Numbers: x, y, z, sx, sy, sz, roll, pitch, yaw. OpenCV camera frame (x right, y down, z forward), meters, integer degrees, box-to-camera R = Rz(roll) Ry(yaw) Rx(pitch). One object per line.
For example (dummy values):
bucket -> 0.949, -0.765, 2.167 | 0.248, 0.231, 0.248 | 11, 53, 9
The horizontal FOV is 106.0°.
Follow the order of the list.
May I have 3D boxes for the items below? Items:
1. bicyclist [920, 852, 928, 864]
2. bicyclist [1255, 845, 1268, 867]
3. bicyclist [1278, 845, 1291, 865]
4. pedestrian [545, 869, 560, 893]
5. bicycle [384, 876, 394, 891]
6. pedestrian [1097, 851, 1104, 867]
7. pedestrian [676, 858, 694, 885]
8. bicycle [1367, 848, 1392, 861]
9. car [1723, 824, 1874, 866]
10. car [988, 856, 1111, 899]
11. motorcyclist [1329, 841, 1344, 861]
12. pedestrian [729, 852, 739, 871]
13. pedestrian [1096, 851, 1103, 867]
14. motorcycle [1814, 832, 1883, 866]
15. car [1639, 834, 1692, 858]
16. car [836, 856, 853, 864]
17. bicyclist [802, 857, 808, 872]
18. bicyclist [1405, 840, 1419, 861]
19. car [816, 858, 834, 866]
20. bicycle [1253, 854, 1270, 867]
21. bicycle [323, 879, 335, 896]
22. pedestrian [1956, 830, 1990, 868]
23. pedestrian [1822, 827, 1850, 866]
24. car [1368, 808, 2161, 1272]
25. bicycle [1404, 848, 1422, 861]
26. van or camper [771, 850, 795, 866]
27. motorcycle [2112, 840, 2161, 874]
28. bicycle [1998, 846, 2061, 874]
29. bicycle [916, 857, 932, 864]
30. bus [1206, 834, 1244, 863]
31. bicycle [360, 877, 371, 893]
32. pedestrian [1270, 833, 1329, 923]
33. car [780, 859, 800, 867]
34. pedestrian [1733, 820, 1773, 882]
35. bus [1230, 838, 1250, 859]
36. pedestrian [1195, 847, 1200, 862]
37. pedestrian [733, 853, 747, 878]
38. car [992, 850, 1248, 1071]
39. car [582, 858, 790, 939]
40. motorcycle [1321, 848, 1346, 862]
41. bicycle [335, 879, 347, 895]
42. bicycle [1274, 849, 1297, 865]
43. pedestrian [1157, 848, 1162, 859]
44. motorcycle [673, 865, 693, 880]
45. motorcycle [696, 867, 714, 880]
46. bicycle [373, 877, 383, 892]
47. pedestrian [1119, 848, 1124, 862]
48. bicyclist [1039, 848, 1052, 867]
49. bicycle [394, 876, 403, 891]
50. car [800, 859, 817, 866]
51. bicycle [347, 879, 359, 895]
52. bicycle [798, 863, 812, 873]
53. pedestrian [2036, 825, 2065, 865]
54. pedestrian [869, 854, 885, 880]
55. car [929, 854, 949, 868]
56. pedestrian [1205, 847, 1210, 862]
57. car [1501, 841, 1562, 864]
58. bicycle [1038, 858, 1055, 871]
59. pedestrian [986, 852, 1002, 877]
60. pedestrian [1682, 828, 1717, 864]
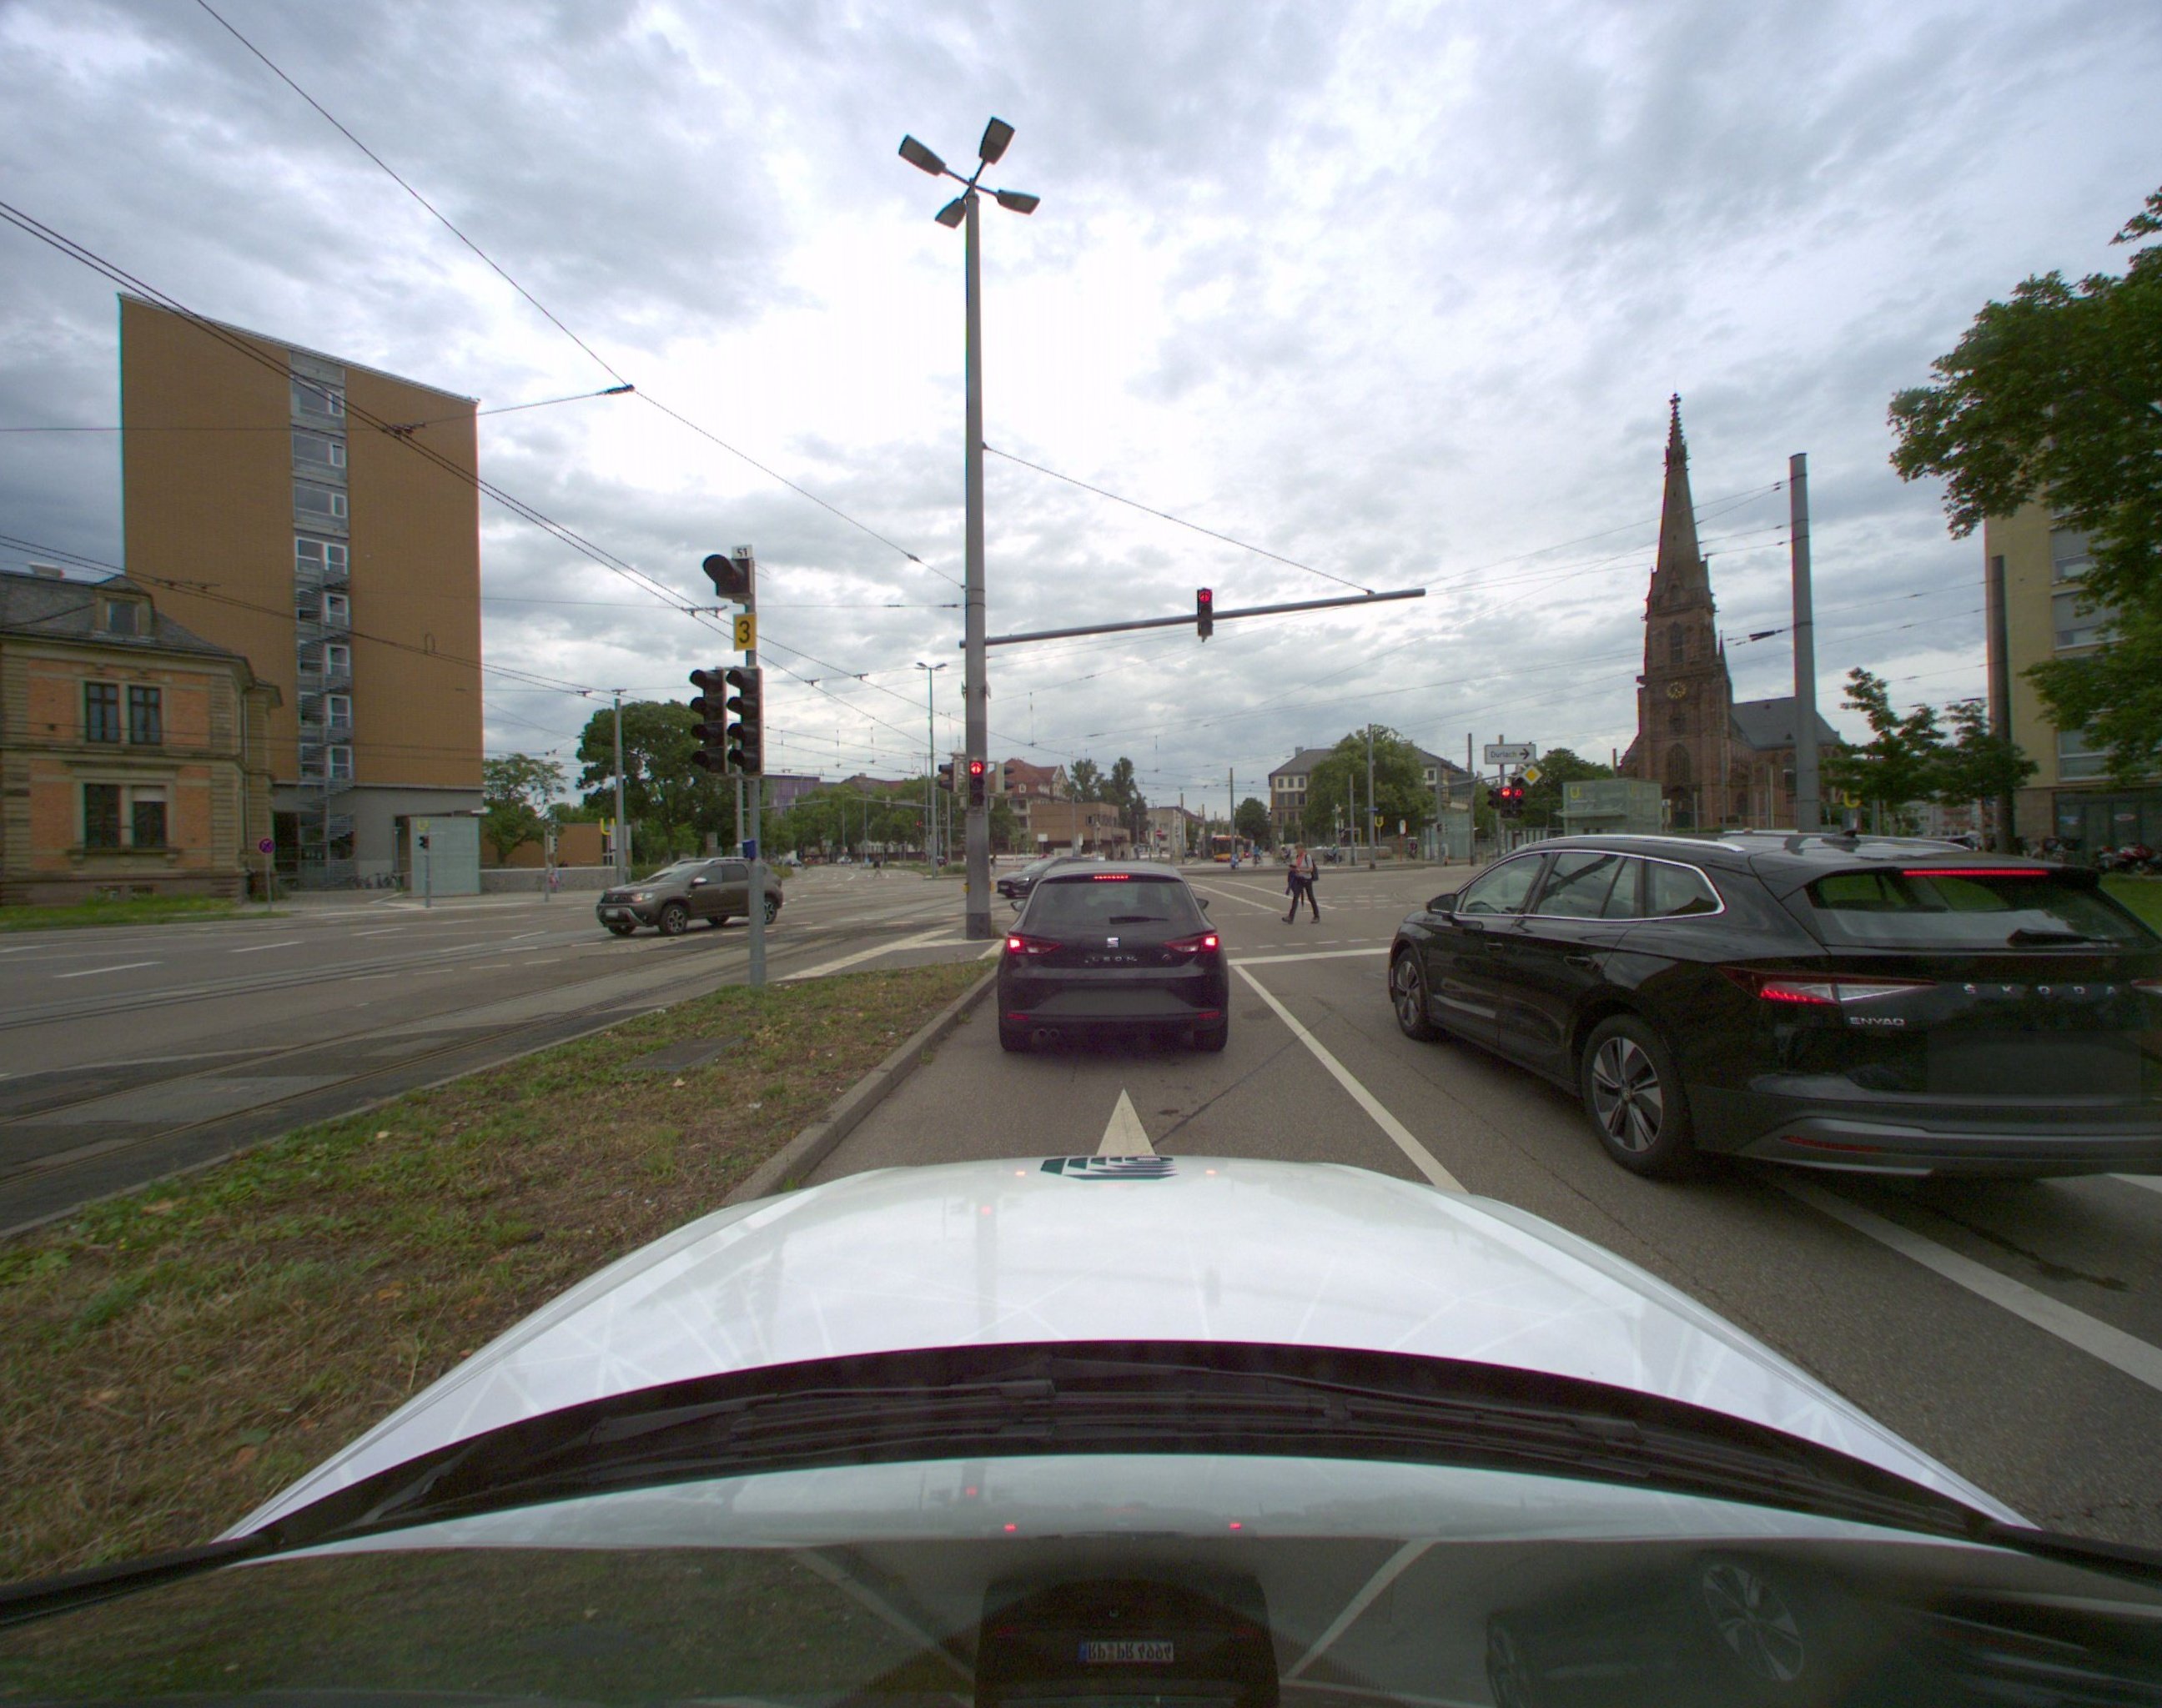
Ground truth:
bicyclist -> -26.779, 0.691, 138.620 | 0.928, 2.013, 0.984 | -1, 0, 31
bicyclist -> 15.701, 0.166, 70.800 | 0.869, 1.851, 1.046 | -1, 0, -3
bicyclist -> 17.344, 0.101, 69.448 | 0.854, 1.673, 0.652 | -1, 0, -11
pedestrian -> -30.103, 1.511, 46.406 | 0.492, 1.336, 0.577 | -1, 0, 42
bicycle -> -49.699, 2.125, 58.491 | 0.484, 1.049, 1.411 | -1, 0, -40
pedestrian -> 2.376, 0.617, 98.864 | 0.704, 1.918, 0.625 | -1, 0, 9
pedestrian -> -29.567, 1.306, 60.797 | 1.023, 2.013, 0.841 | -1, 0, -17
bicycle -> 30.397, 0.046, 82.832 | 2.248, 1.331, 0.709 | -2, -1, 9
car -> 38.174, -0.439, 43.521 | 5.671, 2.014, 2.038 | -2, -1, 20
car -> -1.127, 0.836, 30.517 | 4.413, 1.396, 1.679 | -1, 0, -38
motorcyclist -> 21.898, -0.240, 69.840 | 0.984, 1.649, 0.742 | -1, -1, -31
pedestrian -> -37.443, 0.844, 87.842 | 0.799, 1.981, 0.872 | -1, -2, -32
pedestrian -> 2.213, 0.606, 98.072 | 0.704, 1.918, 0.625 | -1, 0, 9
motorcycle -> 27.255, -0.185, 28.931 | 2.385, 1.168, 0.762 | -1, 0, -19
car -> 46.798, -0.641, 65.244 | 4.011, 1.775, 1.883 | -1, -1, -29
car -> -43.825, 1.114, 151.144 | 1.789, 1.464, 3.956 | -1, 1, -36
bicyclist -> -38.228, 1.467, 112.840 | 0.508, 2.014, 0.593 | -3, -2, 45
bicyclist -> 30.716, -0.299, 75.542 | 1.003, 1.897, 0.768 | -1, 0, -44
car -> -50.803, 1.510, 161.359 | 1.792, 1.464, 3.951 | -1, 1, -44
bicycle -> 15.721, 0.556, 70.868 | 0.863, 1.104, 2.300 | -1, 0, -2
bicycle -> -52.015, 2.312, 56.340 | 0.575, 1.106, 1.411 | -1, 0, -40
pedestrian -> 38.819, -0.217, 35.452 | 0.777, 1.638, 0.641 | -1, 0, 26
pedestrian -> 31.914, -0.305, 34.415 | 0.875, 1.638, 0.631 | -1, 0, -31
car -> 3.429, 0.639, 5.092 | 1.771, 1.597, 4.511 | -1, 0, 1
bicycle -> 30.776, 0.050, 75.587 | 2.044, 1.184, 0.768 | -1, 0, -44
van or camper -> -61.392, 0.837, 167.877 | 5.434, 3.124, 2.410 | -1, 0, 44
motorcycle -> 32.001, 0.083, 24.706 | 1.020, 0.997, 0.864 | -1, 0, -39
bicycle -> 31.796, 0.195, 27.314 | 0.596, 0.917, 1.253 | -1, 0, -28
bicycle -> -26.725, 1.108, 138.636 | 0.930, 1.179, 2.747 | -1, 0, 31
bus -> 16.804, -0.676, 94.492 | 2.937, 3.123, 11.590 | -1, 0, 17
bicycle -> -50.623, 2.163, 57.615 | 0.575, 1.106, 1.411 | -1, 0, -40
pedestrian -> 4.792, 0.501, 17.848 | 1.110, 1.907, 0.727 | 0, -1, -40
car -> -52.455, 1.619, 146.692 | 1.792, 1.464, 3.950 | -1, 0, -44
pedestrian -> 21.433, -0.096, 25.962 | 0.878, 1.930, 1.023 | -1, 0, 44
bus -> 26.919, -0.928, 137.427 | 2.635, 3.283, 11.036 | -1, 0, 14
pedestrian -> 15.050, 0.010, 105.256 | 0.617, 1.918, 0.701 | -1, 0, 12
pedestrian -> -27.747, 0.932, 66.320 | 0.931, 2.014, 1.006 | -1, -1, -18
car -> 0.219, 0.707, 7.370 | 1.700, 1.449, 3.809 | -1, 0, -2
car -> -9.023, 0.939, 19.051 | 1.782, 1.640, 4.253 | -1, 0, 22
motorcycle -> 21.595, 0.056, 69.634 | 2.148, 1.139, 0.737 | -1, 0, -31
bicycle -> -51.562, 2.300, 56.741 | 0.575, 1.106, 1.411 | -1, 0, -40
bicycle -> 17.429, 0.258, 69.464 | 1.731, 1.321, 0.643 | -1, 0, -12
pedestrian -> 14.102, -0.160, 145.816 | 0.615, 1.918, 0.715 | -2, -2, 28
motorcycle -> -34.801, 1.647, 71.247 | 1.481, 1.268, 0.505 | -1, 0, -44
motorcycle -> -33.759, 1.731, 73.144 | 0.506, 1.111, 1.752 | -1, 0, 15
bicycle -> -50.116, 2.155, 58.055 | 0.512, 1.049, 1.411 | -1, 0, -40
pedestrian -> 5.518, 0.174, 110.335 | 0.618, 1.918, 0.711 | -1, 0, 5
bicyclist -> -3.226, 0.299, 74.179 | 0.885, 1.732, 0.888 | -1, 0, -19
bicycle -> -49.295, 2.103, 58.839 | 0.484, 1.049, 1.411 | -1, 0, -40
car -> -55.721, 1.742, 166.601 | 1.792, 1.464, 3.951 | -1, 1, -43
bicycle -> -51.112, 2.302, 57.142 | 0.575, 1.106, 1.411 | -1, 0, -40
bicycle -> -38.203, 1.934, 112.841 | 1.838, 1.236, 0.429 | 0, -2, -45
pedestrian -> 39.797, -0.378, 33.439 | 0.875, 1.638, 0.631 | -1, 0, -32
pedestrian -> -15.406, 0.996, 61.477 | 1.032, 1.934, 0.695 | -1, 0, -23
car -> -18.650, 0.911, 106.980 | 2.000, 1.684, 3.974 | -1, -1, -19
pedestrian -> 16.378, 0.056, 105.655 | 0.617, 1.918, 0.701 | -1, 0, 12
car -> 30.934, -0.103, 55.867 | 4.011, 1.464, 1.758 | -1, -1, -29
bicycle -> -3.172, 0.951, 74.031 | 0.894, 1.178, 2.287 | -1, 0, -19
pedestrian -> -6.849, 0.819, 64.345 | 0.692, 1.934, 1.037 | -1, 0, 41
pedestrian -> 31.525, -0.389, 41.491 | 0.950, 1.797, 1.077 | -1, -2, -30
